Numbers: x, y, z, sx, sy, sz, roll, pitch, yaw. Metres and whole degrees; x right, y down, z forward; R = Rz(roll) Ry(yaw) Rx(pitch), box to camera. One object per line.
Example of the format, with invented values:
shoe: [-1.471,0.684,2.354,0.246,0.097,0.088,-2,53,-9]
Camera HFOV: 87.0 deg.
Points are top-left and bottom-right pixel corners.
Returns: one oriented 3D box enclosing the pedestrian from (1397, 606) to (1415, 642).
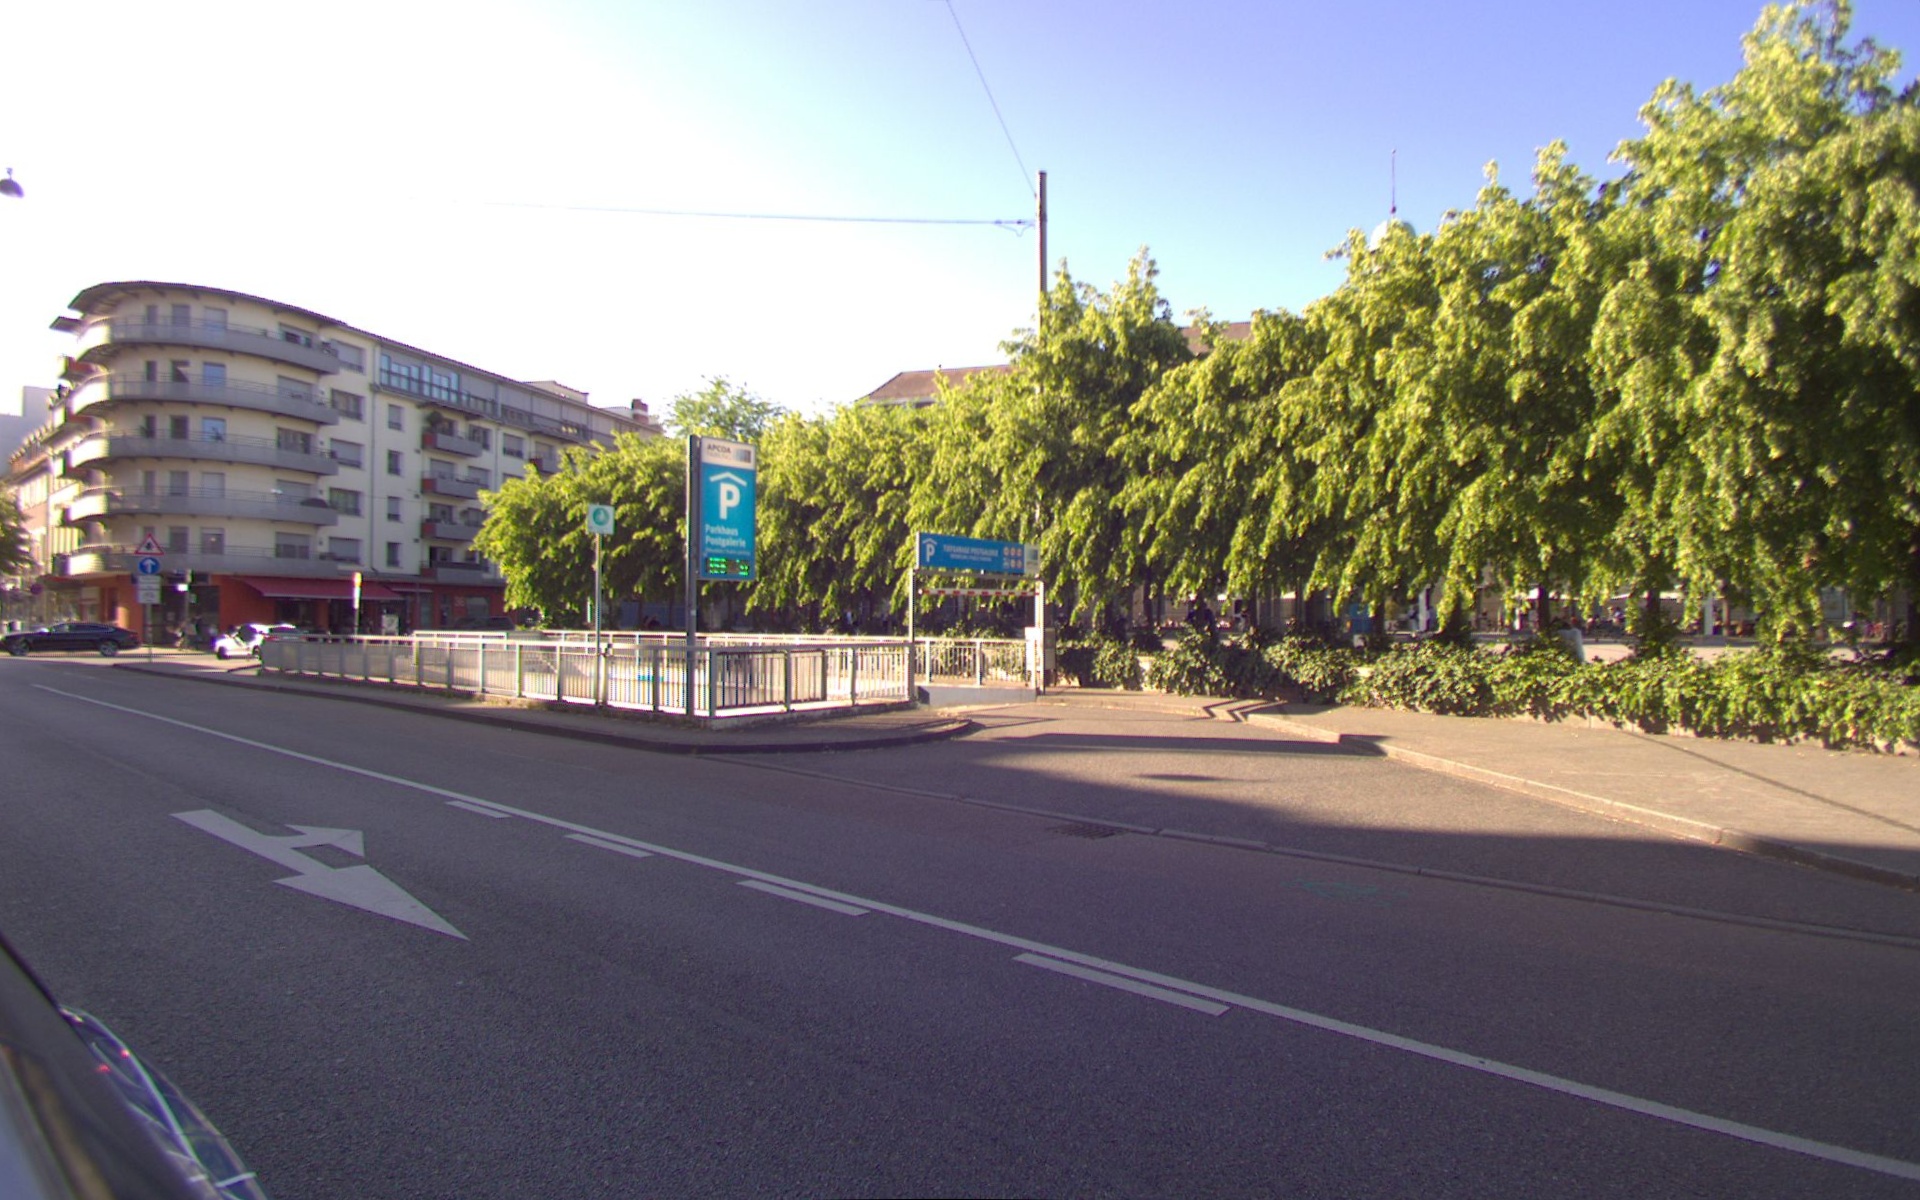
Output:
pedestrian: [24.250,1.315,55.031,0.751,1.948,0.938,-1,-1,20]

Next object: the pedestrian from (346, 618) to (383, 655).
pedestrian: [-32.630,1.991,55.463,1.251,2.029,1.226,-1,-1,19]

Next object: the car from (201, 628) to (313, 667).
car: [-27.884,1.864,40.141,4.227,1.445,1.788,-1,-1,25]

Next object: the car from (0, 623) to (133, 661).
car: [-36.288,1.663,41.015,4.223,1.394,2.003,0,-1,-41]

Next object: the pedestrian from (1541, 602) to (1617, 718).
pedestrian: [9.771,0.920,15.982,0.885,1.771,0.738,0,-1,-39]

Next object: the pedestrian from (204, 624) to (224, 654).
pedestrian: [-37.733,1.979,51.210,0.780,1.472,0.583,0,-1,-40]

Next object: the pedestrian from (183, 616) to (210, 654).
pedestrian: [-37.222,1.712,49.324,0.746,1.819,0.755,-1,-1,-1]

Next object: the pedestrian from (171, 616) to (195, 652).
pedestrian: [-37.461,1.625,48.793,0.693,1.719,0.671,-1,-1,17]

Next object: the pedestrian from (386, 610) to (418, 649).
pedestrian: [-29.394,1.549,53.321,1.298,2.029,1.298,0,-1,-36]

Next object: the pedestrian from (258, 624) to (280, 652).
pedestrian: [-36.731,2.017,53.780,0.782,1.473,0.582,0,-1,3]

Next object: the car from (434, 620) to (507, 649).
car: [-30.521,2.121,63.212,1.983,1.763,3.977,-1,-1,17]

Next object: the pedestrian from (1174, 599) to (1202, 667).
pedestrian: [5.772,0.831,25.608,0.672,1.683,0.843,-1,-1,13]

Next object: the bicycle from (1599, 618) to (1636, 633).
bicycle: [42.088,1.611,64.780,1.890,0.961,0.586,-1,-1,18]

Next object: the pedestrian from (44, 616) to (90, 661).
pedestrian: [-40.751,1.749,46.203,1.008,2.029,1.198,-1,0,4]
